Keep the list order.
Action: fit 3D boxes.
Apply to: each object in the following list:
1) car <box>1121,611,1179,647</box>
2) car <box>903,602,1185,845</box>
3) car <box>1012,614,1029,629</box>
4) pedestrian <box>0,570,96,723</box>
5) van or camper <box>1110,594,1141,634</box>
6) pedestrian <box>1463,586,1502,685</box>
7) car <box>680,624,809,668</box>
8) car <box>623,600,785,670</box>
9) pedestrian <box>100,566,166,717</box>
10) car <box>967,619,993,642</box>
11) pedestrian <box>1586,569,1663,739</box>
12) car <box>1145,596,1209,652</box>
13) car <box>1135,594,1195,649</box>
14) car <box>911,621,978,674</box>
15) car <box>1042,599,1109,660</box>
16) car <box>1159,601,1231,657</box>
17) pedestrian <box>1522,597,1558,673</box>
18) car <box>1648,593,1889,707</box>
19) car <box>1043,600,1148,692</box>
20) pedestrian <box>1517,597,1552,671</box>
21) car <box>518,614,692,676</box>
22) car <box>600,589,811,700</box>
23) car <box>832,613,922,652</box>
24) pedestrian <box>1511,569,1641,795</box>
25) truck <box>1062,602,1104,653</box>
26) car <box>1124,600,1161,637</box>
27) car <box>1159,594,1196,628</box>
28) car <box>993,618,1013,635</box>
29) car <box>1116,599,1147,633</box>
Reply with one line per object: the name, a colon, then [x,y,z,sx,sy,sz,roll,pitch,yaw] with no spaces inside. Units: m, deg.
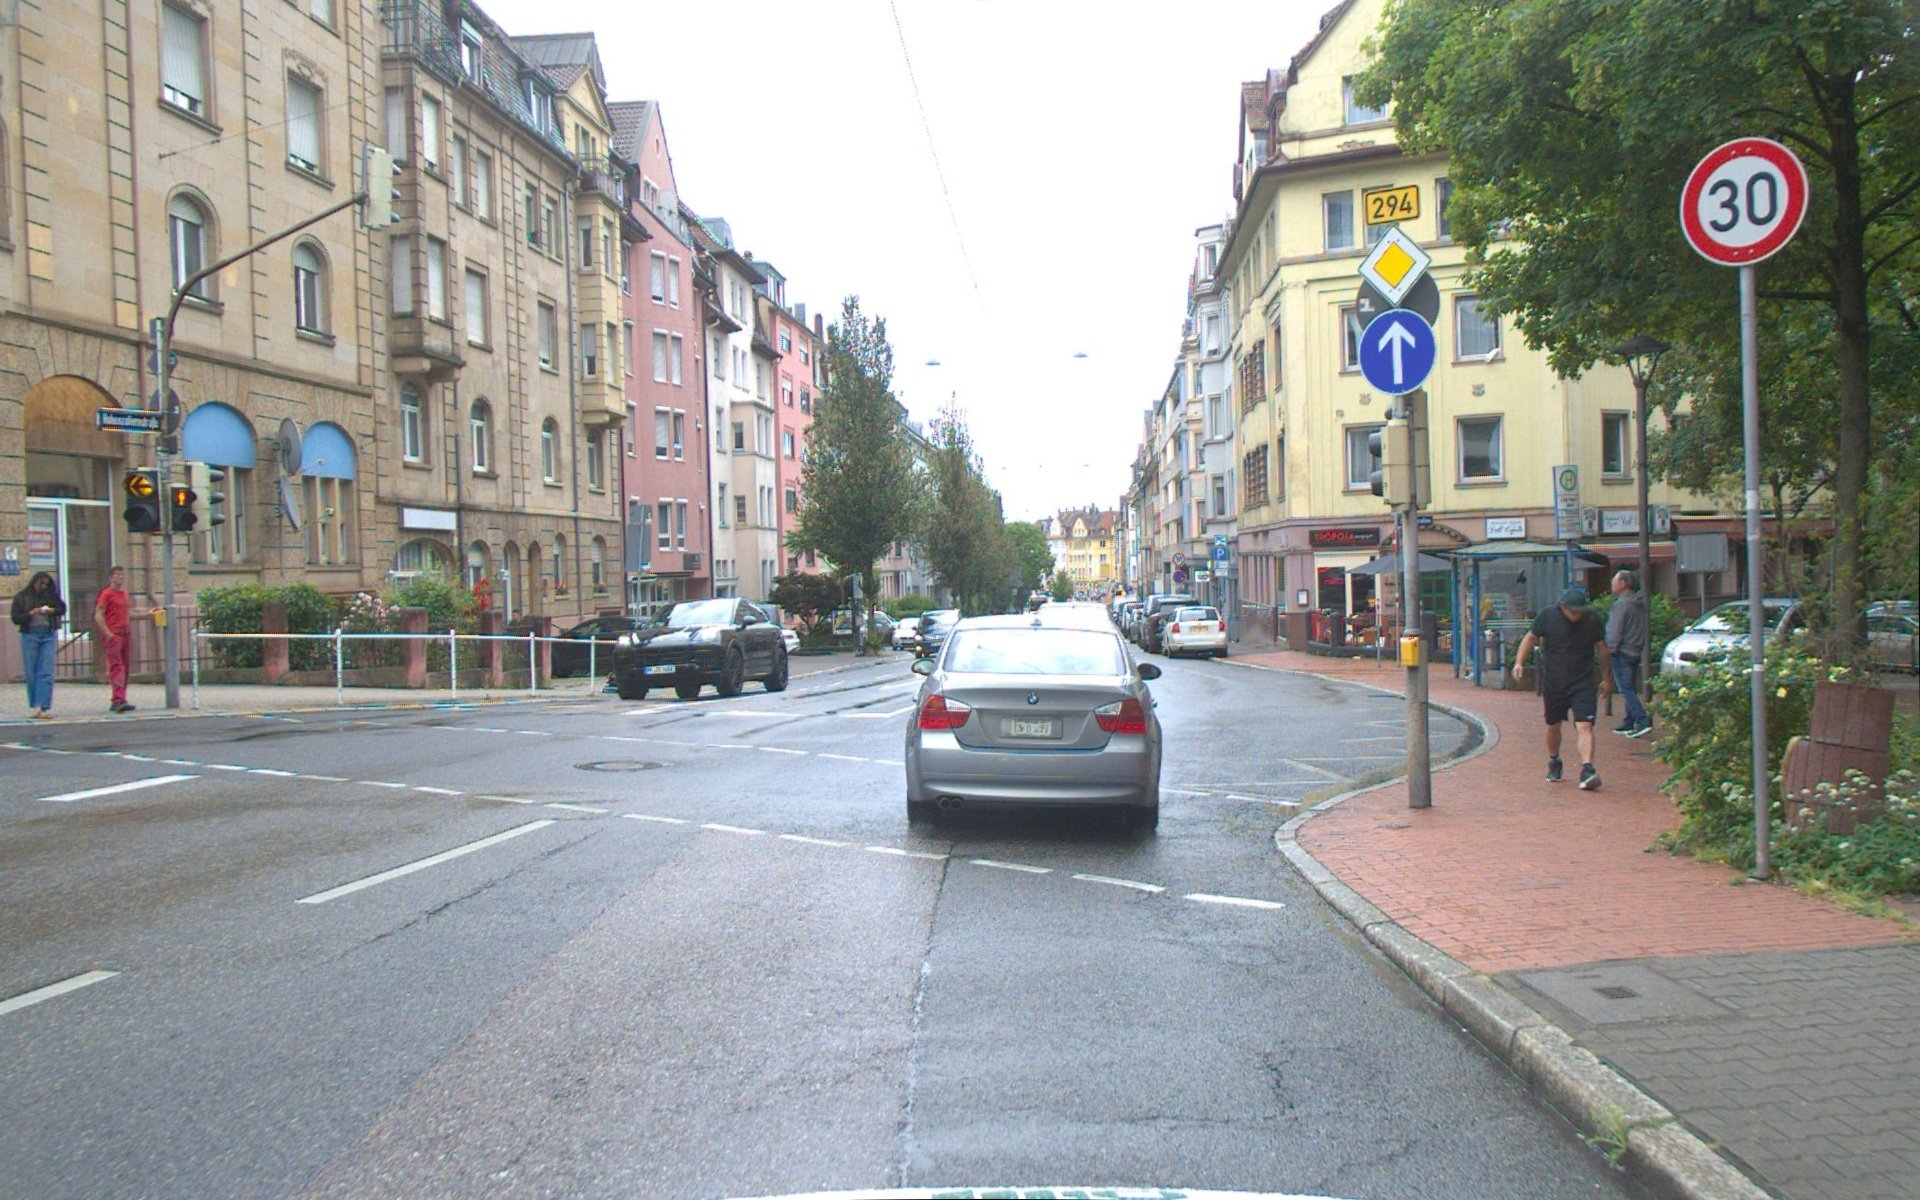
car: [8.270,1.278,72.420,1.837,1.493,4.773,0,-1,-2]
car: [0.574,0.761,12.075,1.732,1.453,3.742,0,1,2]
car: [6.543,2.342,178.296,1.602,1.534,3.756,-4,-1,4]
pedestrian: [-10.635,0.528,19.292,0.628,1.732,0.823,0,-1,44]
van or camper: [12.420,1.051,123.763,1.990,2.919,6.890,1,0,8]
pedestrian: [9.754,0.655,30.871,0.548,1.806,0.544,0,-1,34]
car: [-8.038,1.714,61.773,4.452,1.426,1.768,-3,-1,4]
car: [-7.470,1.010,48.609,4.583,1.972,1.861,1,0,-5]
pedestrian: [-10.110,0.502,20.235,0.682,1.805,0.520,1,0,-24]
car: [1.543,2.293,126.137,1.730,1.621,4.001,-3,-1,3]
pedestrian: [7.090,0.563,17.642,0.563,1.764,0.728,0,-1,40]
car: [7.081,0.782,54.433,1.839,1.762,4.679,0,-1,4]
car: [7.460,0.788,60.539,1.879,1.859,5.011,-3,-1,4]
car: [-0.514,1.666,58.958,1.586,1.678,4.423,-4,-1,8]
car: [3.009,0.780,43.111,1.662,1.509,3.795,0,-1,4]
car: [6.925,0.845,49.123,1.761,1.592,4.494,0,-1,3]
pedestrian: [10.117,0.602,28.852,0.557,1.302,0.534,0,0,17]
car: [12.090,0.742,24.668,3.634,1.528,1.748,2,0,-37]
car: [2.312,0.755,27.967,1.646,1.453,3.743,0,-1,5]
pedestrian: [10.246,0.606,29.484,0.557,1.302,0.619,0,0,17]
car: [-9.247,1.161,43.265,4.060,1.537,1.874,-1,0,4]
car: [-4.202,0.763,28.201,1.923,1.723,4.811,-1,-2,13]
car: [-4.623,1.823,92.890,4.727,2.008,2.049,-2,-1,4]
pedestrian: [4.893,0.622,13.125,0.813,1.708,0.892,0,0,31]
truck: [6.070,1.361,82.062,1.989,2.455,4.828,0,-1,4]
car: [10.864,1.097,98.826,1.940,2.042,4.627,-3,-1,4]
car: [12.035,0.621,91.835,1.690,1.699,4.290,-4,-1,4]
car: [4.369,2.681,168.050,1.655,1.550,3.738,-4,-1,5]
car: [11.748,1.097,113.444,1.940,2.204,4.752,-3,-1,4]
